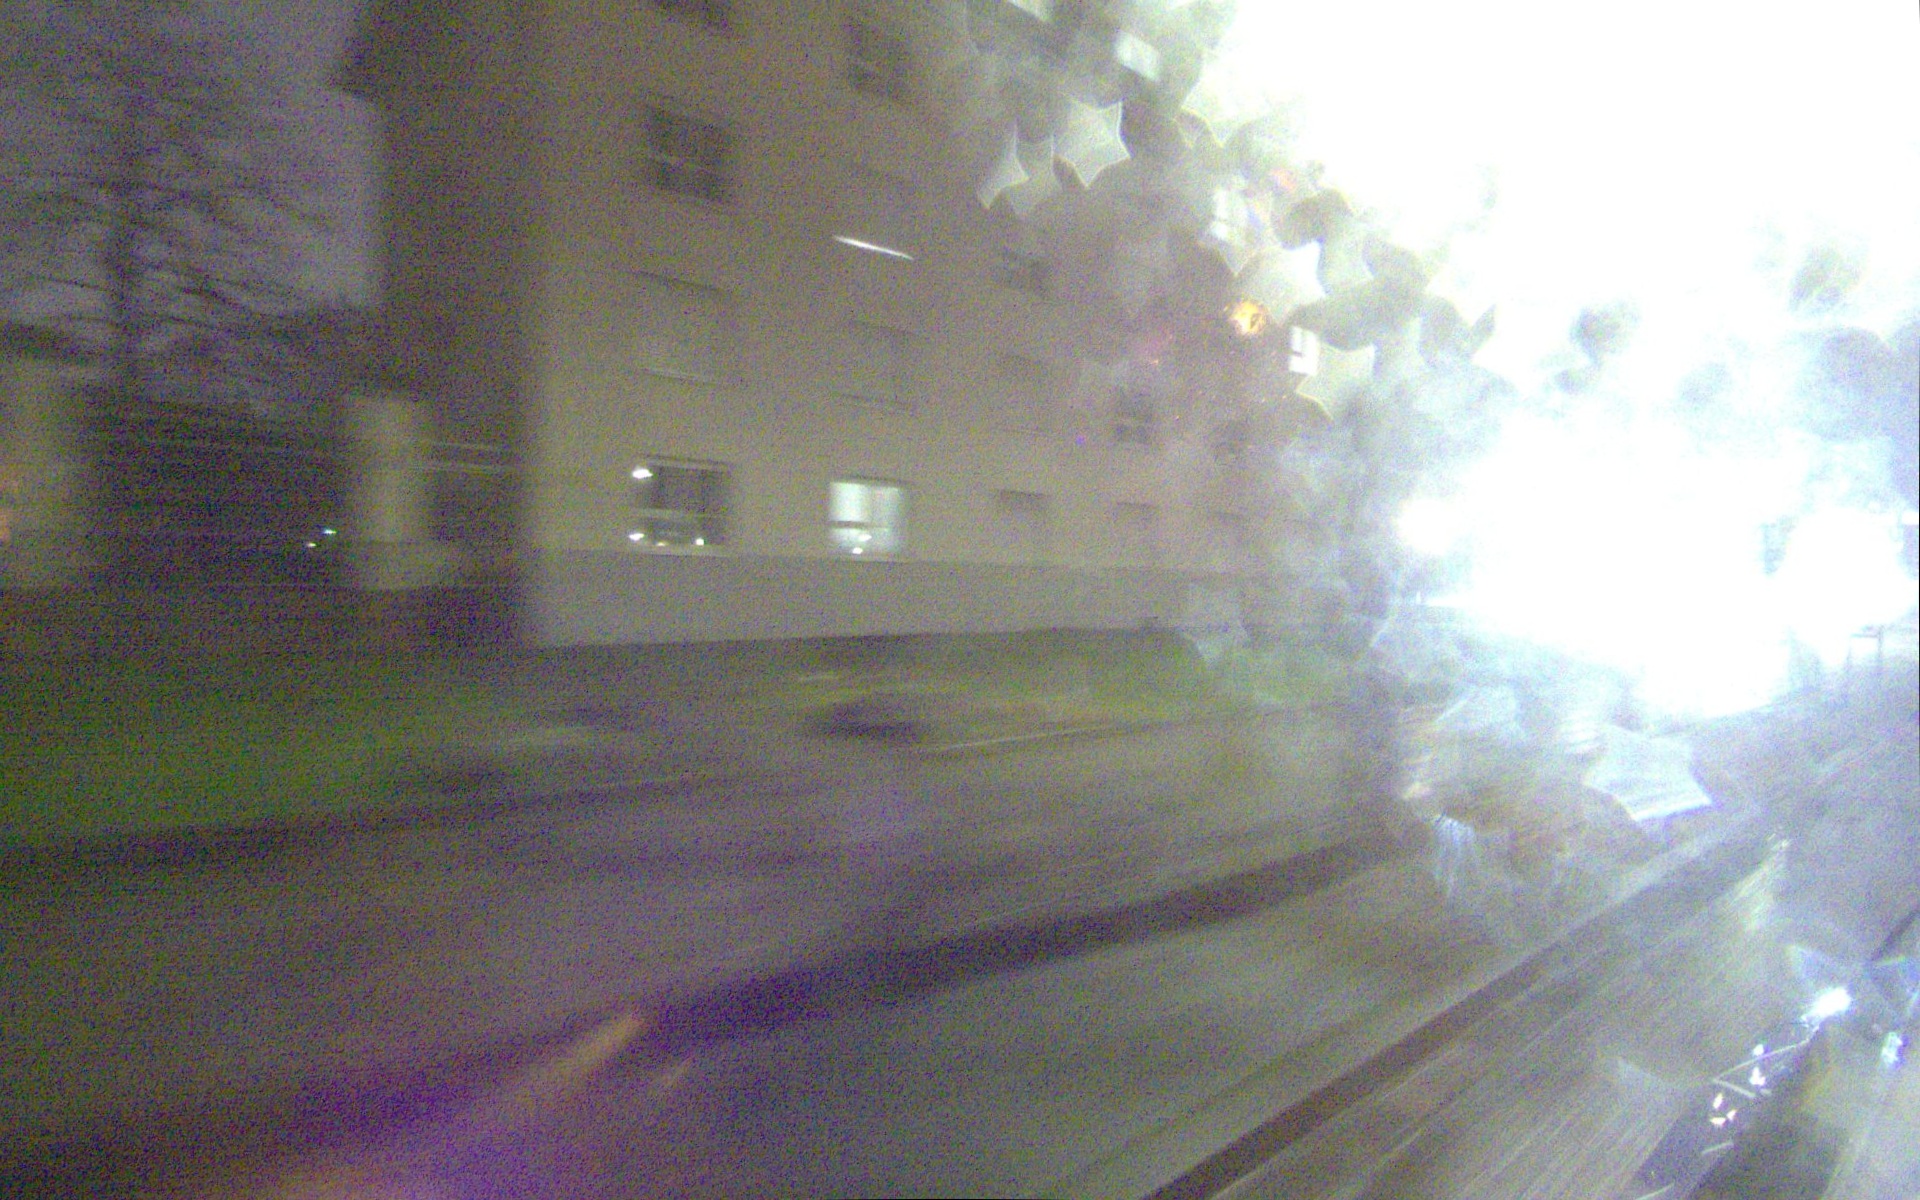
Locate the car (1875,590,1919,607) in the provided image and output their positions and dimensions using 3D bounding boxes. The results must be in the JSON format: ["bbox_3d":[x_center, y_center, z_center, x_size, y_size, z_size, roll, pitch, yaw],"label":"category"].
[{"bbox_3d":[85.516,-0.147,91.120,4.142,1.484,1.983,1,1,26],"label":"car"}]

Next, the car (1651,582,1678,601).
[{"bbox_3d":[70.176,-0.822,100.798,1.990,1.776,3.945,2,3,38],"label":"car"}]
